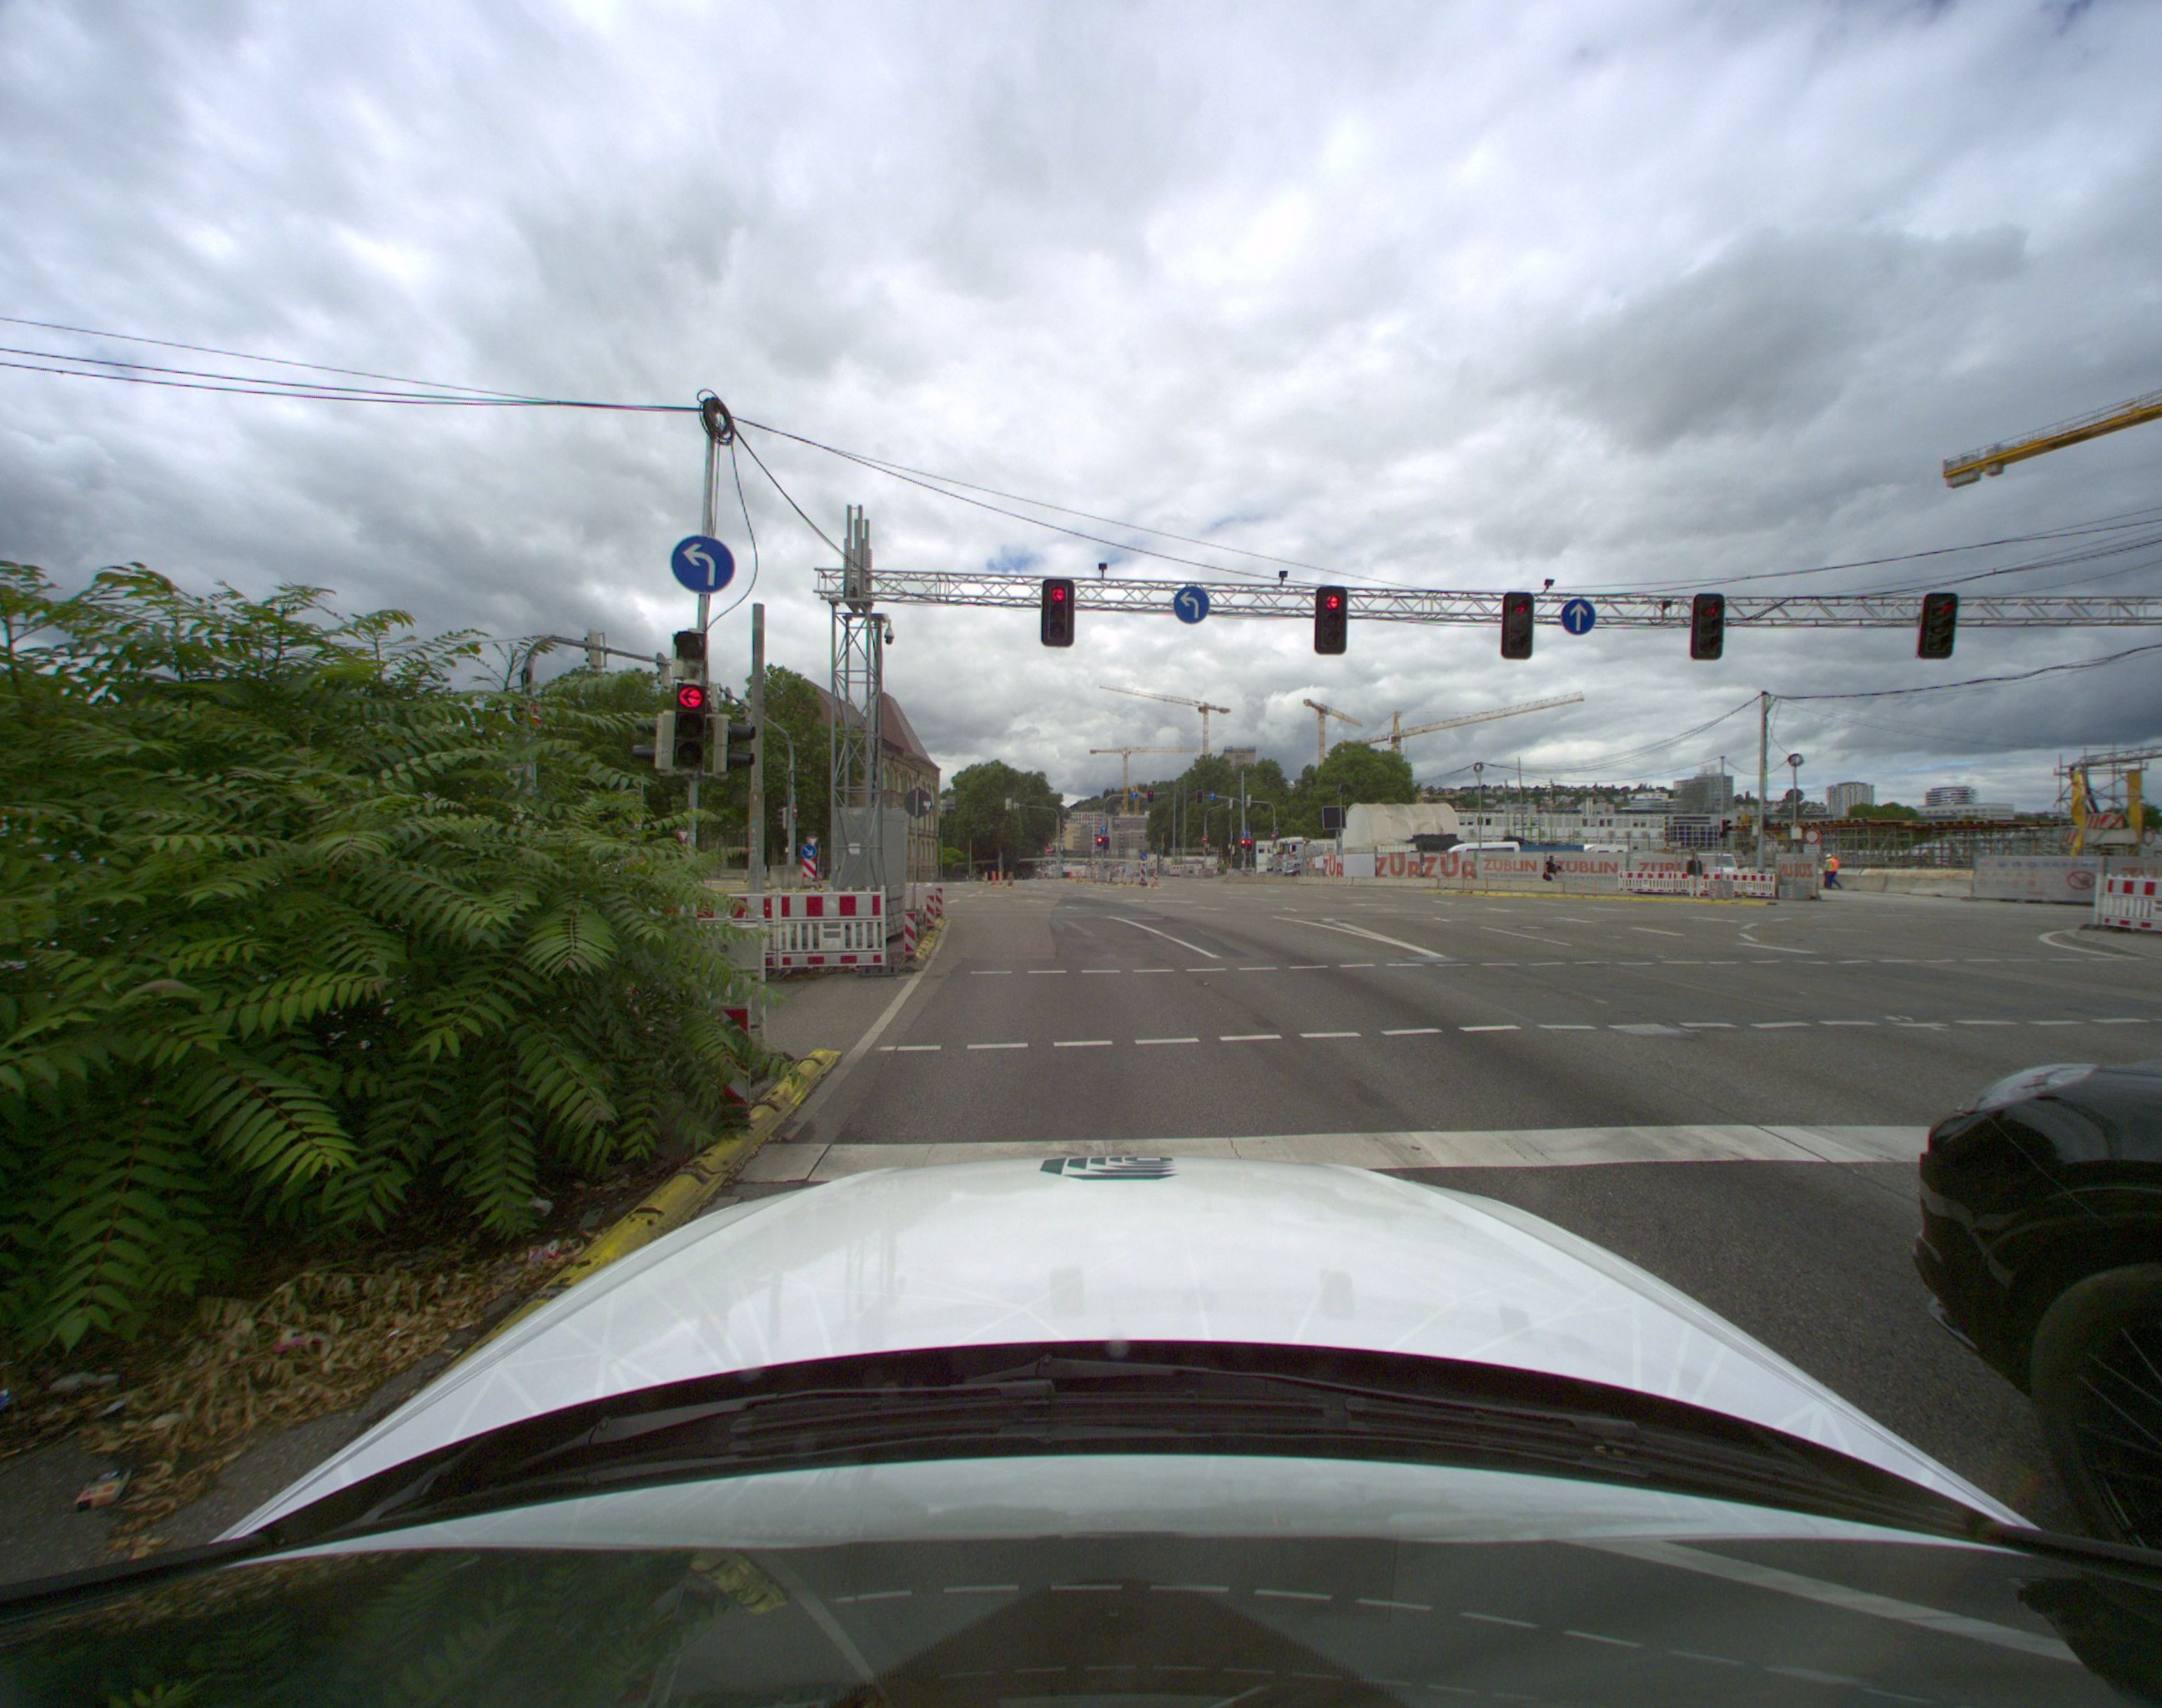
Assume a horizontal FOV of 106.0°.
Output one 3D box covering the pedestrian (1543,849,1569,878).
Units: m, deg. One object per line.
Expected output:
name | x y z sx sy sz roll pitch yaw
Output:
pedestrian | 22.947 0.458 39.354 0.893 1.378 0.804 0 0 45

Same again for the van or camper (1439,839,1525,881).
van or camper | 23.143 0.351 47.193 4.181 2.357 2.009 0 0 16

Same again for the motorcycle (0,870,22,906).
motorcycle | -29.656 0.903 21.581 2.051 0.924 0.756 0 0 -4

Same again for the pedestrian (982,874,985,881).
pedestrian | -21.125 5.095 175.892 0.534 1.592 0.515 0 0 -2

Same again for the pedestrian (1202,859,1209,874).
pedestrian | 14.506 1.457 94.738 0.726 1.689 0.678 0 0 1

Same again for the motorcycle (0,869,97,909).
motorcycle | -25.477 0.849 19.796 2.051 0.924 0.756 0 0 -4

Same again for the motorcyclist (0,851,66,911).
motorcyclist | -25.622 0.638 19.782 0.963 1.423 0.745 0 0 -4

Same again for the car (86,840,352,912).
car | -21.251 0.524 20.242 4.302 1.676 1.998 0 0 -3

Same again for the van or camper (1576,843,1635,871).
van or camper | 54.766 0.306 85.081 5.282 2.911 1.993 0 -1 -10

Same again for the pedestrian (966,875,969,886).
pedestrian | -21.549 5.096 154.713 0.522 2.014 0.567 0 0 2

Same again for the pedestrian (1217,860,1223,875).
pedestrian | 16.099 1.561 94.468 0.564 1.689 0.472 0 0 1

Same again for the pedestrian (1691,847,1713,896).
pedestrian | 25.723 0.720 33.731 0.645 2.013 0.520 0 0 27

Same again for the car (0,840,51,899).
car | -32.944 0.433 23.238 4.302 1.676 1.998 0 0 -3

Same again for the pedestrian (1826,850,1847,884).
pedestrian | 38.613 0.660 41.630 0.651 1.717 0.516 0 0 -9

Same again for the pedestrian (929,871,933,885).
pedestrian | -21.624 3.495 117.576 0.522 2.014 0.567 0 0 2

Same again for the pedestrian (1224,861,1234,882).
pedestrian | 12.240 1.432 67.309 0.726 1.689 0.678 0 0 1

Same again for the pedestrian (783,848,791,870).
pedestrian | -26.737 0.423 74.103 0.530 2.014 0.423 1 -1 -42

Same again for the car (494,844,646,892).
car | -18.825 0.500 30.234 4.315 1.676 1.992 0 0 -12

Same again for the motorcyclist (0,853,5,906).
motorcyclist | -29.521 0.678 21.586 0.963 1.423 0.753 0 0 -4

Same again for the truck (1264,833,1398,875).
truck | 25.025 -0.028 81.580 13.062 4.041 3.926 0 0 -18
